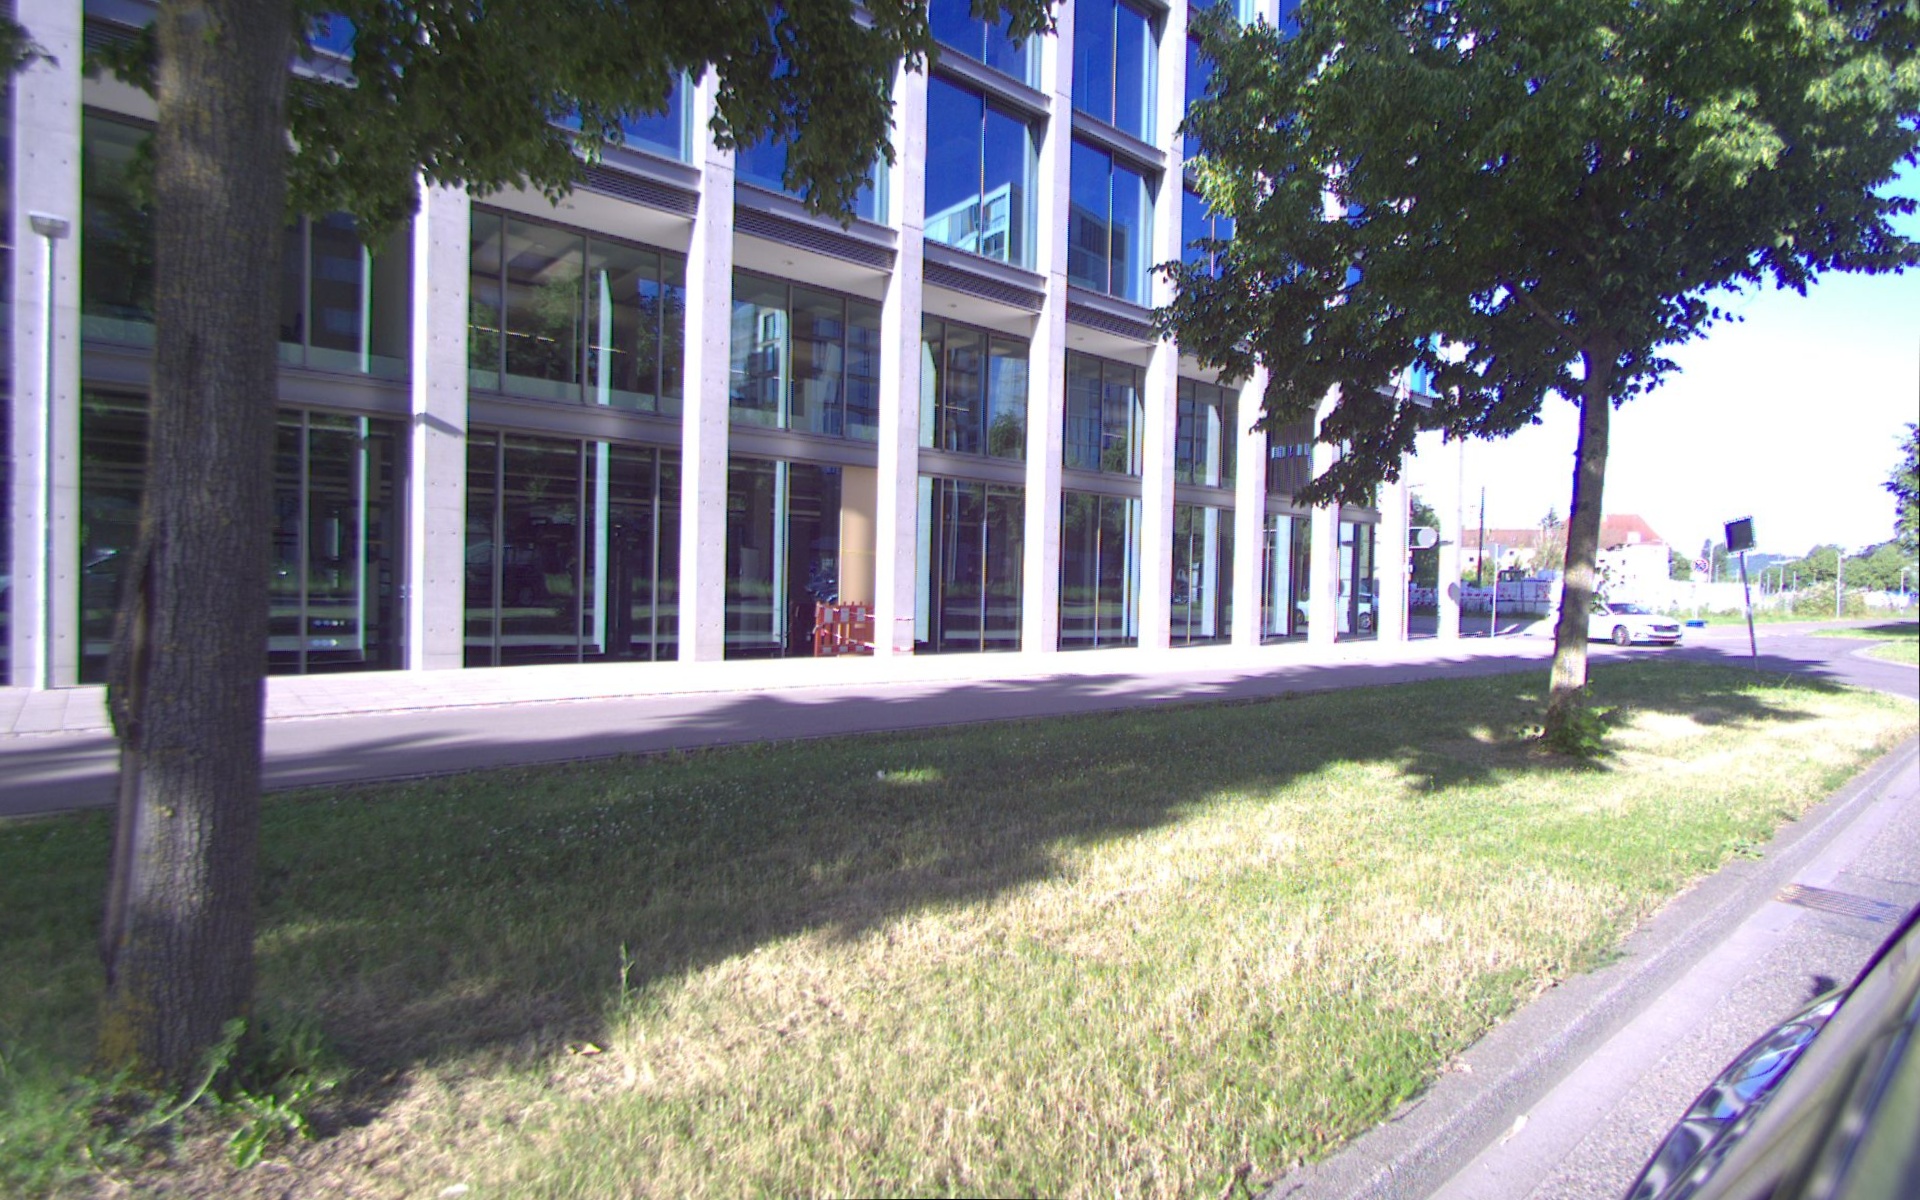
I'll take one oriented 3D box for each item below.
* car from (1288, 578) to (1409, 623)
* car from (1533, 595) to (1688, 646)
[{"bbox_3d":[15.220,-0.010,39.760,1.963,1.598,3.998,0,2,-38],"label":"car"},{"bbox_3d":[21.468,0.634,33.663,1.768,1.465,4.576,1,1,-7],"label":"car"}]
